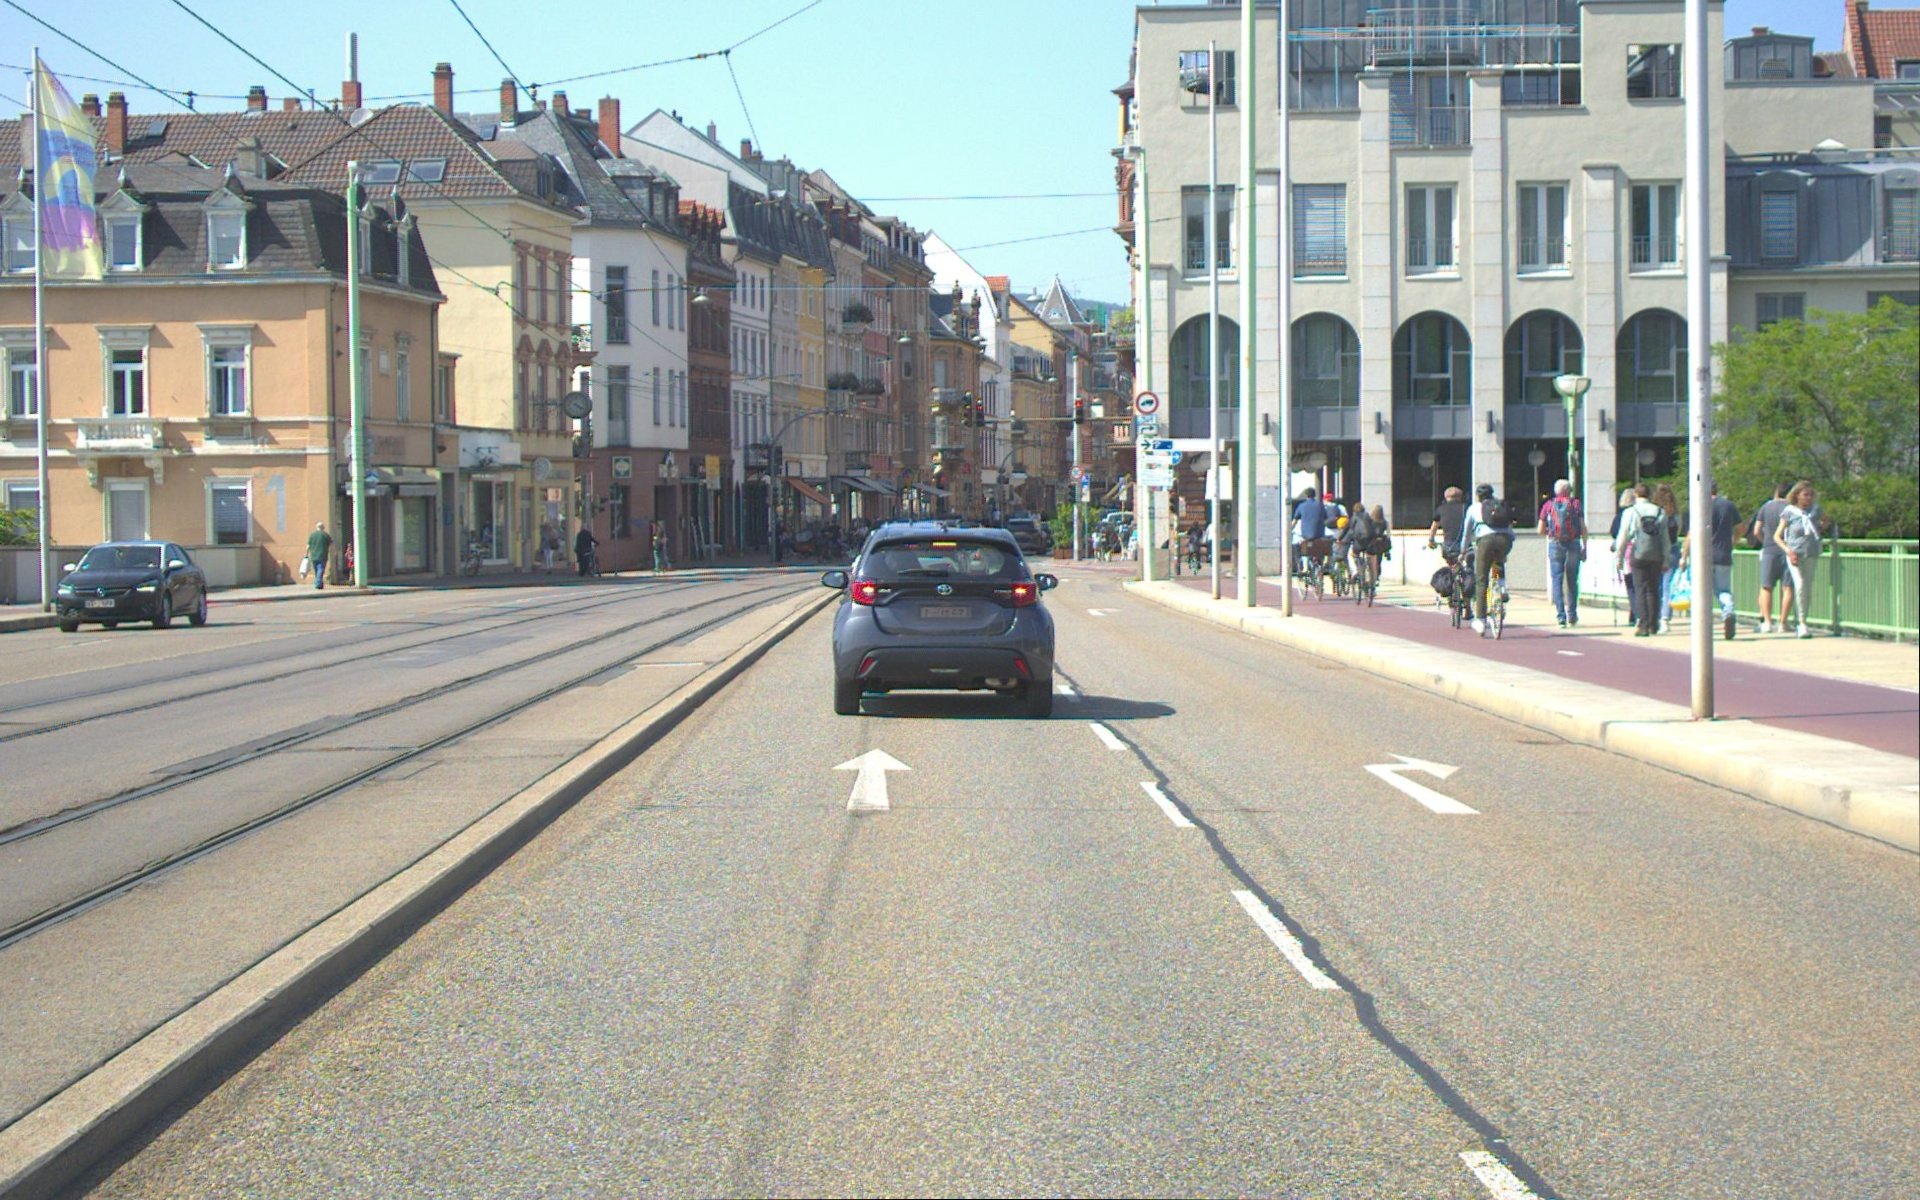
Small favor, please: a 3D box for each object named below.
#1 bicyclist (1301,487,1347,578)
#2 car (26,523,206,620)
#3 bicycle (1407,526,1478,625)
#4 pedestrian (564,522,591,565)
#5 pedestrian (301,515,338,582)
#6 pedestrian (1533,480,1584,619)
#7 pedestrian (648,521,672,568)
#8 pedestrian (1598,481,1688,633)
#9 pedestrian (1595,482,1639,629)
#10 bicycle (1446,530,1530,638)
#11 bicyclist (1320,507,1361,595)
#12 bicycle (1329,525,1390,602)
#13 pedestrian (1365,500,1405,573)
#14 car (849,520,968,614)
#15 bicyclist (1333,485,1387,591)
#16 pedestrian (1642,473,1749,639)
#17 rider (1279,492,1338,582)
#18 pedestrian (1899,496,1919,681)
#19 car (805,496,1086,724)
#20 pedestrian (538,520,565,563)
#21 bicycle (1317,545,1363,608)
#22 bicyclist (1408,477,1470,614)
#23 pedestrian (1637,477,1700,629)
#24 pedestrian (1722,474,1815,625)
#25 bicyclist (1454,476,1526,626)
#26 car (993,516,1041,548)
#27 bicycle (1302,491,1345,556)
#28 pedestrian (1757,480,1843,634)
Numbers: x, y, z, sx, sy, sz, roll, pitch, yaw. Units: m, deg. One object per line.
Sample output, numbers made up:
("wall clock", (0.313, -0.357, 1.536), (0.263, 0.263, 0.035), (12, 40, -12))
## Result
("bicyclist", (6.713, -1.250, 63.454), (0.796, 1.670, 0.869), (0, 2, 3))
("car", (-13.686, -0.493, 55.975), (1.993, 1.474, 4.001), (0, 2, -1))
("bicycle", (5.957, -0.316, 42.504), (0.526, 1.174, 2.029), (0, 2, -2))
("pedestrian", (-12.414, -1.830, 111.633), (0.763, 1.393, 0.663), (0, 2, 2))
("pedestrian", (-16.038, -1.284, 86.068), (0.763, 1.659, 0.663), (0, 2, 2))
("pedestrian", (7.308, -0.623, 42.004), (0.426, 1.666, 0.620), (3, 1, -1))
("pedestrian", (-10.910, -2.032, 125.000), (0.763, 1.693, 0.663), (0, 2, 2))
("pedestrian", (7.683, -0.496, 38.714), (0.834, 1.683, 0.869), (0, 2, -1))
("pedestrian", (8.054, -0.549, 42.149), (0.367, 1.788, 0.604), (1, 1, -1))
("bicycle", (6.000, -0.196, 39.150), (0.593, 1.174, 1.940), (0, 2, -2))
("bicyclist", (6.693, -0.864, 60.560), (0.651, 1.524, 0.975), (0, 2, 3))
("bicycle", (6.340, -0.592, 54.617), (0.666, 1.174, 2.029), (0, 2, -2))
("pedestrian", (8.511, -1.281, 68.854), (0.656, 1.446, 0.645), (0, 2, -6))
("car", (-0.906, -0.587, 58.073), (1.803, 1.464, 4.001), (-2, 2, -3))
("bicyclist", (6.341, -0.990, 54.532), (0.715, 1.670, 0.869), (0, 2, -2))
("pedestrian", (7.868, -0.480, 36.823), (0.929, 1.755, 0.938), (0, 2, -1))
("rider", (5.886, -1.074, 58.134), (0.889, 1.499, 0.841), (0, 2, -2))
("pedestrian", (7.884, -0.098, 27.285), (0.613, 1.460, 0.848), (0, 2, -1))
("car", (-0.203, 0.022, 28.402), (1.910, 1.535, 4.001), (4, 2, -5))
("pedestrian", (-13.180, -1.884, 110.925), (0.763, 1.393, 0.663), (0, 2, 2))
("bicycle", (6.690, -0.420, 60.615), (0.666, 1.046, 2.029), (0, 2, 3))
("bicyclist", (5.955, -0.690, 42.743), (0.627, 1.683, 0.869), (0, 2, -2))
("pedestrian", (8.259, -0.549, 40.090), (0.528, 1.742, 0.728), (1, 1, -1))
("pedestrian", (9.107, -0.574, 38.733), (0.834, 1.683, 0.869), (0, 2, -1))
("bicyclist", (5.999, -0.563, 38.959), (0.656, 1.670, 0.869), (0, 2, -2))
("car", (2.583, -3.068, 155.011), (1.878, 1.404, 4.000), (0, 2, 5))
("bicycle", (6.709, -1.420, 63.450), (0.666, 1.174, 2.029), (0, 2, 3))
("pedestrian", (9.080, -0.469, 37.190), (0.712, 1.645, 0.848), (0, 2, 0))
